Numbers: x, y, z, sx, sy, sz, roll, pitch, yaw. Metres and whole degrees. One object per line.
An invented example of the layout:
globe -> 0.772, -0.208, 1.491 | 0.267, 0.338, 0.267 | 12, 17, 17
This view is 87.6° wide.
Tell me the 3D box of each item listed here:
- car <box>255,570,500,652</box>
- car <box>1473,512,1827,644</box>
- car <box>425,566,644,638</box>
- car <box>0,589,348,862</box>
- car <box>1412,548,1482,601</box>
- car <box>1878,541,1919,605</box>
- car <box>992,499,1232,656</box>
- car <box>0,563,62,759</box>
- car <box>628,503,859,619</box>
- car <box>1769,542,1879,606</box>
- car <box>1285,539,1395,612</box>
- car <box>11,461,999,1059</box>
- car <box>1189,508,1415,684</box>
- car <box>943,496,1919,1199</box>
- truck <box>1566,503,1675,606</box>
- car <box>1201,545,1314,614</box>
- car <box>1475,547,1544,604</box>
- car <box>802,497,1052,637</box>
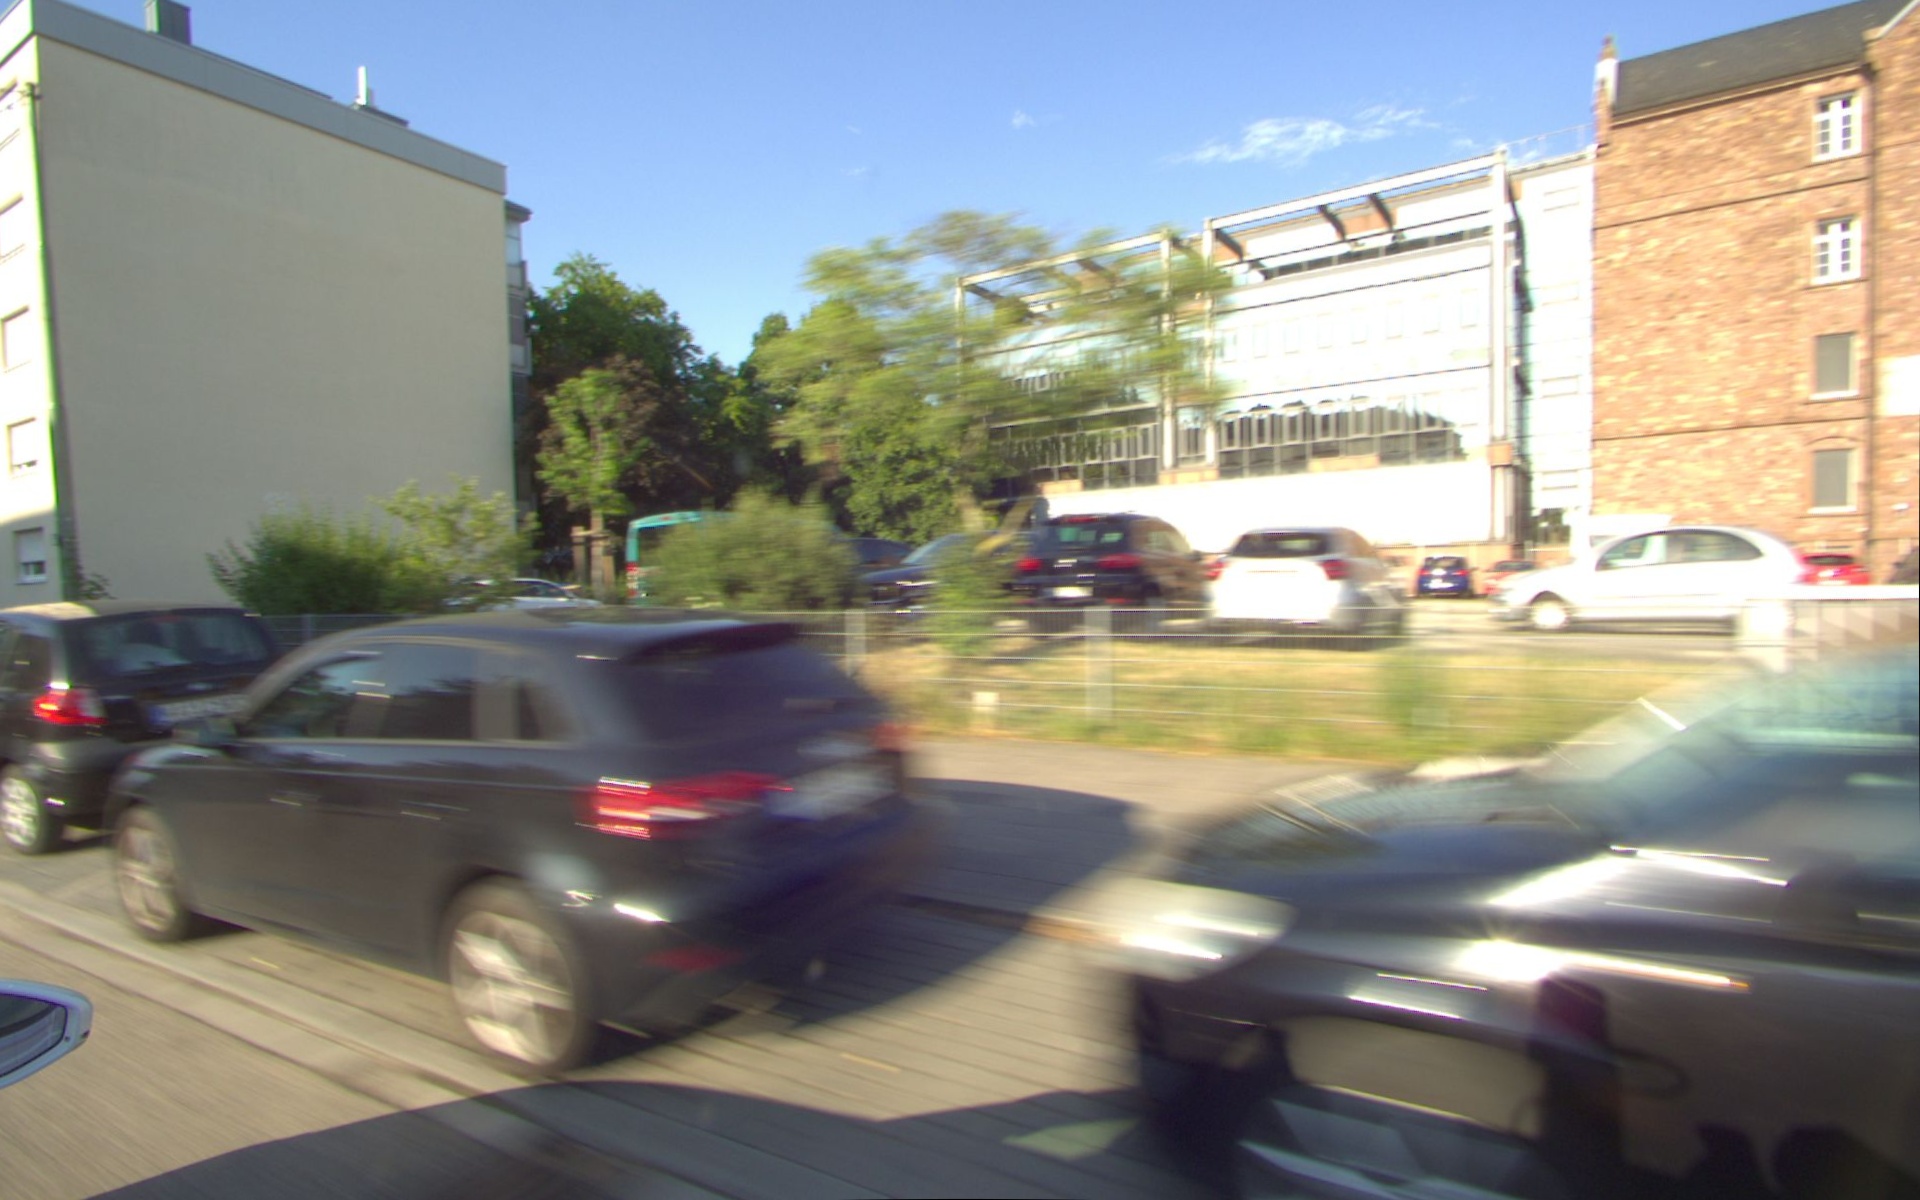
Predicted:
car -> -13.013, 0.199, 22.675 | 1.708, 1.623, 4.465 | -1, 1, 32
car -> 9.686, -0.218, 14.452 | 3.942, 1.647, 1.991 | -2, -1, 31
car -> -9.599, 0.088, 22.964 | 1.708, 1.474, 4.468 | -1, -1, 32
car -> -6.431, 0.688, 7.255 | 3.897, 1.456, 1.648 | 1, 2, 28
car -> 16.842, -0.818, 34.531 | 1.708, 1.622, 4.468 | -1, -1, 32
car -> 26.867, -0.727, 27.435 | 1.708, 1.622, 4.468 | -1, -1, 32
car -> 2.244, -0.209, 13.823 | 1.970, 1.817, 3.982 | -1, -1, 30
car -> -10.971, 0.609, 9.951 | 4.517, 1.802, 1.898 | -2, -1, 32
car -> -3.813, -0.584, 18.271 | 1.970, 1.817, 3.982 | -1, -1, 30
car -> 24.643, -0.662, 28.720 | 1.708, 1.622, 4.468 | -1, -1, 32
car -> 9.609, -0.523, 25.112 | 1.708, 1.622, 4.468 | -1, -1, 32
car -> -2.346, 0.477, 4.671 | 4.742, 1.549, 1.897 | -2, -1, 32
car -> 4.436, 0.015, 12.578 | 1.970, 1.817, 3.982 | -1, -1, 30
car -> 2.292, 0.583, 1.878 | 4.377, 1.561, 1.737 | -2, 2, 32
truck -> 20.238, -1.235, 30.878 | 2.506, 2.718, 6.411 | -1, -1, 32
car -> 7.952, -0.464, 26.498 | 1.708, 1.622, 4.468 | -1, -1, 32
car -> 18.020, -0.733, 32.756 | 1.708, 1.622, 4.468 | -1, -1, 32
car -> -0.359, -0.389, 15.312 | 1.971, 1.817, 3.981 | -1, -1, 31
